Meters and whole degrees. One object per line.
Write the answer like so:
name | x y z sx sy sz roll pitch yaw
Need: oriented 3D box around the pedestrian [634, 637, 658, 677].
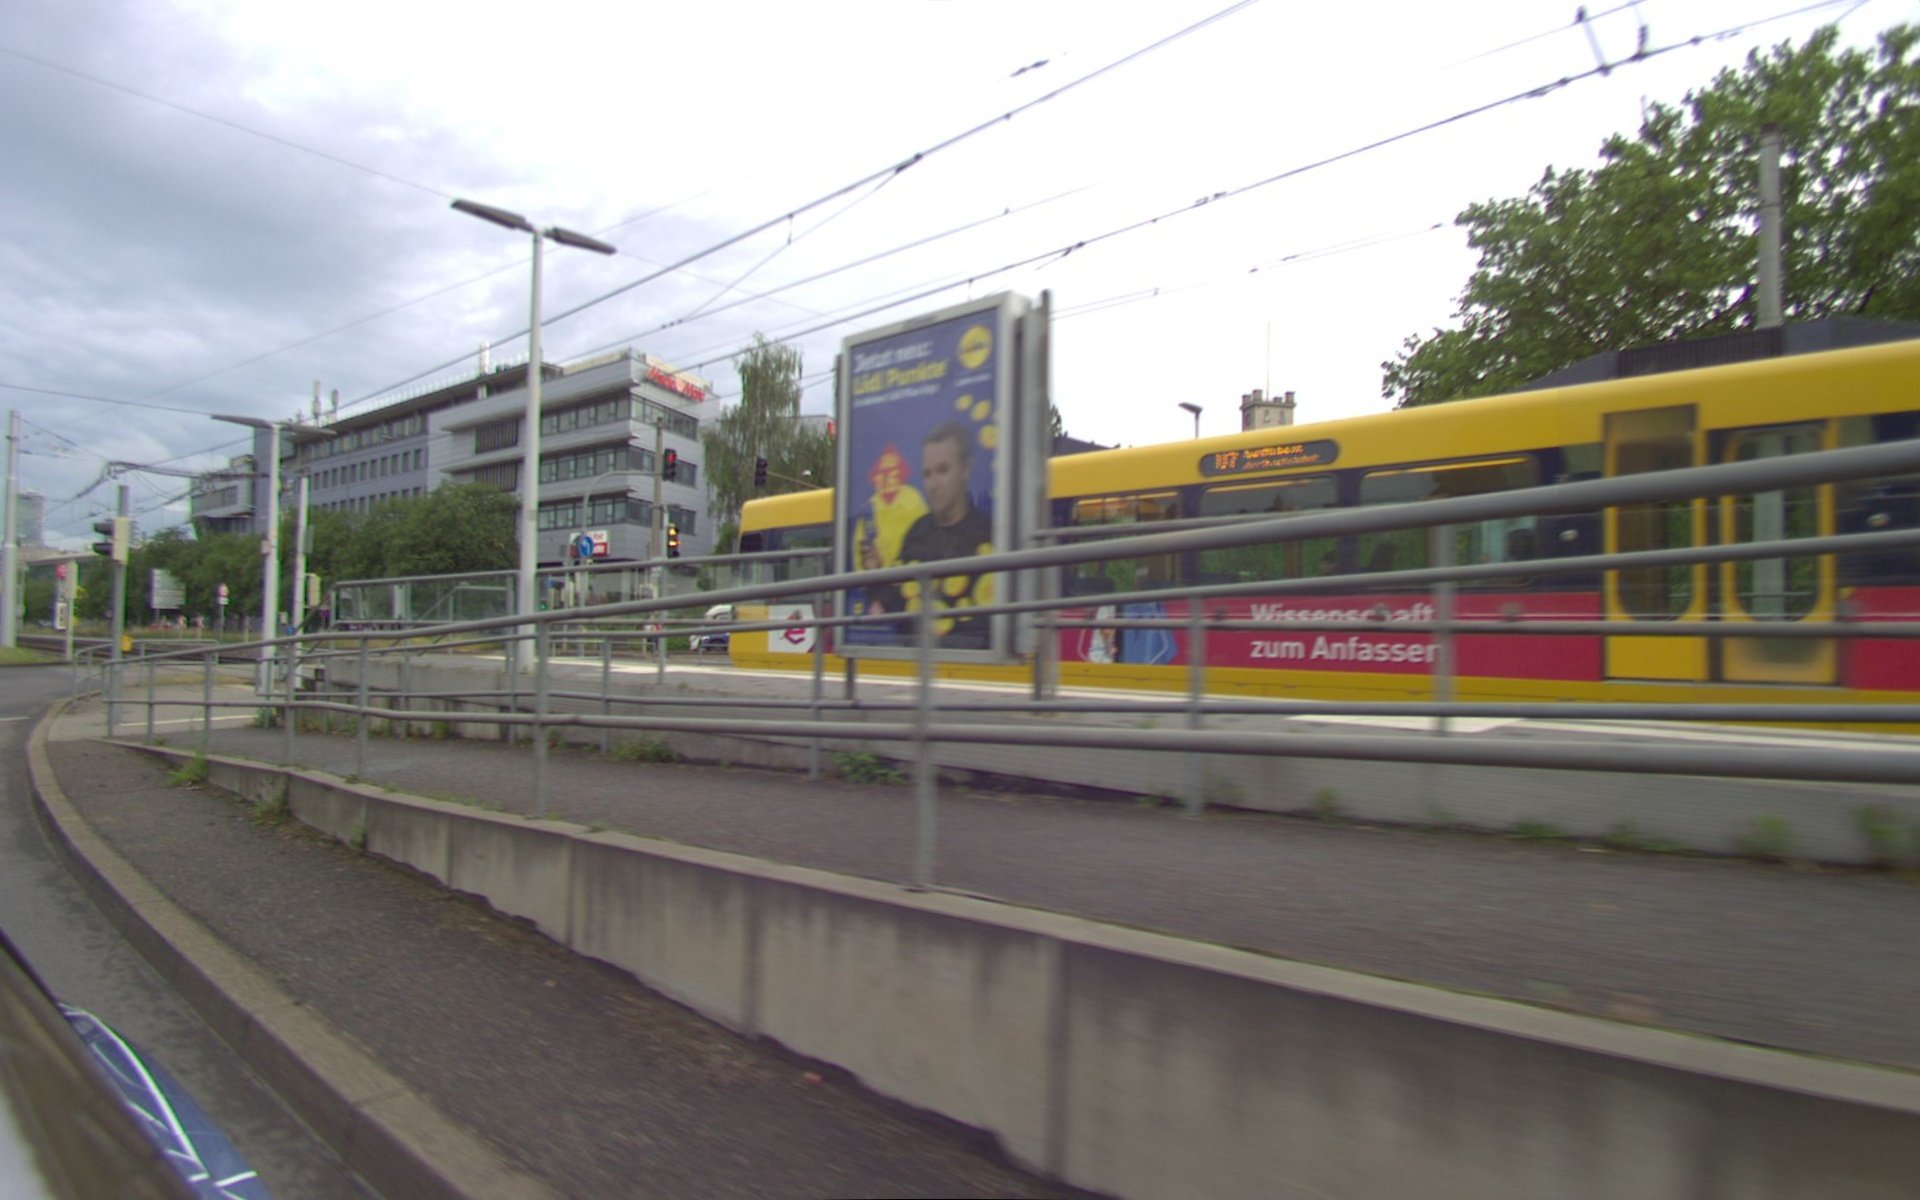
pedestrian | -14.224 2.584 45.834 0.812 1.799 0.738 -3 -4 42

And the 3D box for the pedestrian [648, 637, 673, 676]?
pedestrian | -13.738 2.590 46.410 0.812 1.799 0.738 -3 -4 42

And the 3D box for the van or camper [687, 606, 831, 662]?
van or camper | -11.158 1.826 56.044 7.632 2.905 2.307 -1 0 -16

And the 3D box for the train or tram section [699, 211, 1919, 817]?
train or tram section | 3.780 -0.520 11.010 19.330 4.003 2.837 -1 0 43

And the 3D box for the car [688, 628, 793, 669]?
car | -11.168 2.432 51.380 5.083 1.894 2.006 -1 0 -15
